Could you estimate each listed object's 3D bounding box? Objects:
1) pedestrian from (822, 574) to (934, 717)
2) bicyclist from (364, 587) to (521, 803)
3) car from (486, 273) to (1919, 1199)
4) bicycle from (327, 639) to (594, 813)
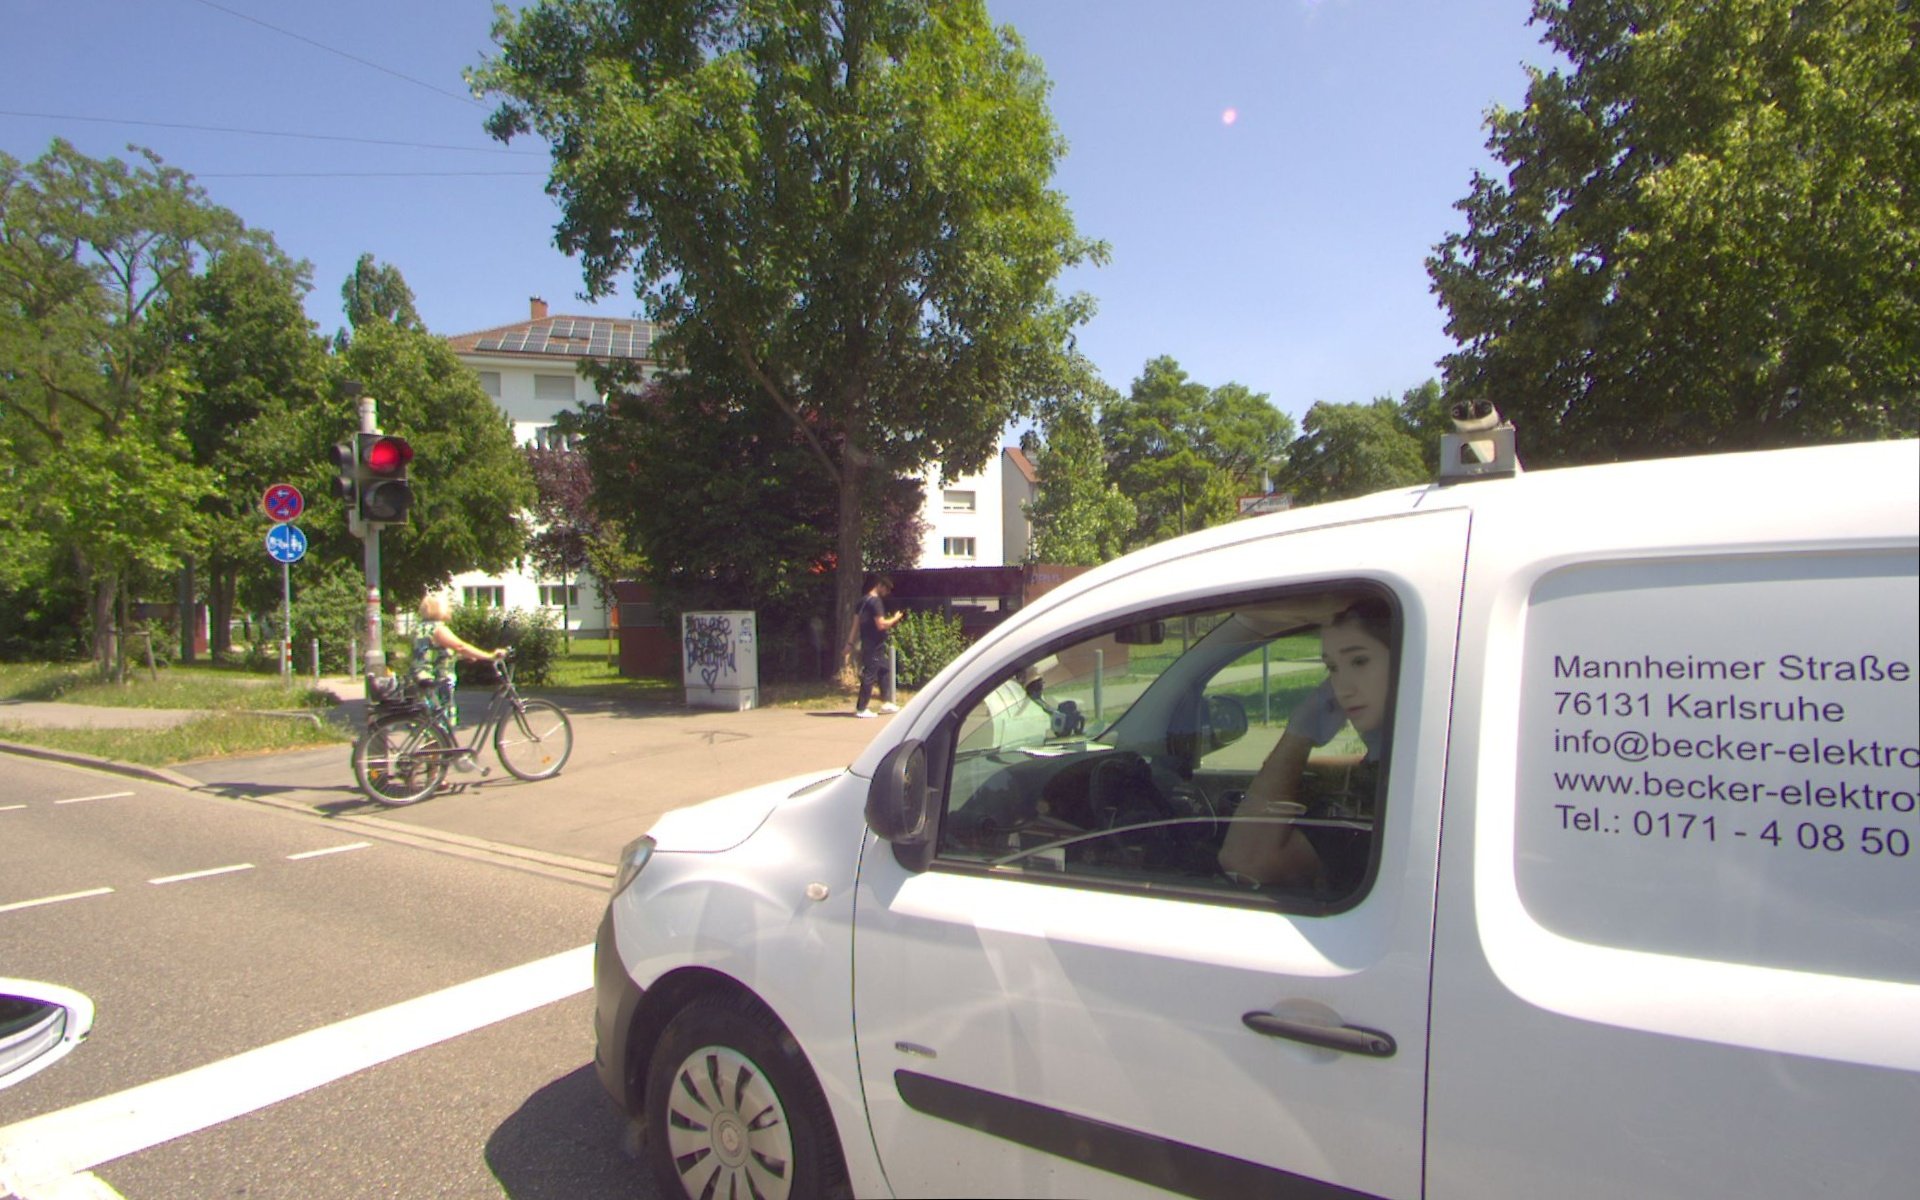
[{"bbox_3d":[-1.098,0.578,13.348,1.172,1.801,0.835,-2,1,-33],"label":"pedestrian"},{"bbox_3d":[-4.367,0.756,8.480,0.572,1.689,0.954,-1,2,35],"label":"bicyclist"},{"bbox_3d":[1.129,0.568,2.302,4.384,1.850,1.990,-1,0,32],"label":"car"},{"bbox_3d":[-4.119,0.979,8.431,0.534,1.177,1.951,-1,2,35],"label":"bicycle"}]
